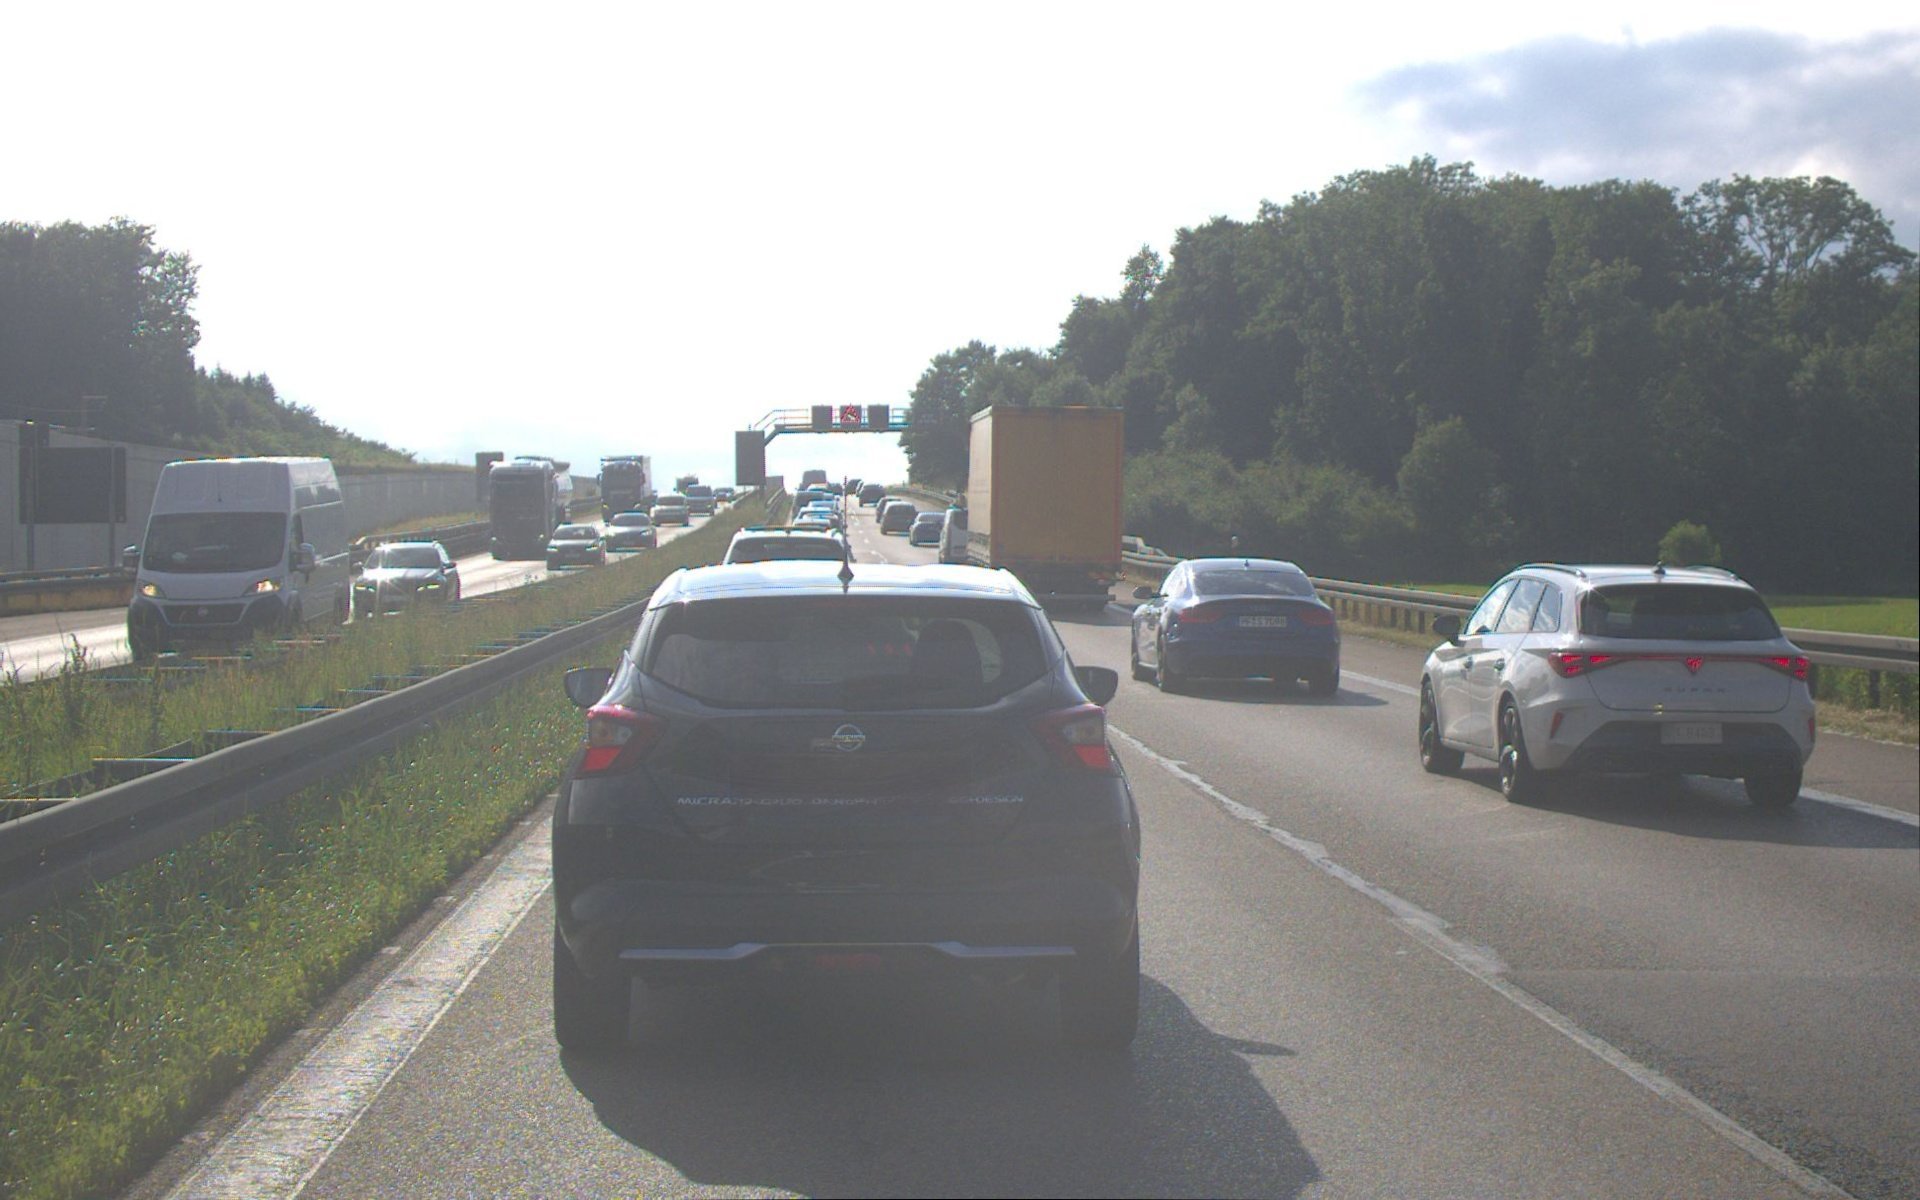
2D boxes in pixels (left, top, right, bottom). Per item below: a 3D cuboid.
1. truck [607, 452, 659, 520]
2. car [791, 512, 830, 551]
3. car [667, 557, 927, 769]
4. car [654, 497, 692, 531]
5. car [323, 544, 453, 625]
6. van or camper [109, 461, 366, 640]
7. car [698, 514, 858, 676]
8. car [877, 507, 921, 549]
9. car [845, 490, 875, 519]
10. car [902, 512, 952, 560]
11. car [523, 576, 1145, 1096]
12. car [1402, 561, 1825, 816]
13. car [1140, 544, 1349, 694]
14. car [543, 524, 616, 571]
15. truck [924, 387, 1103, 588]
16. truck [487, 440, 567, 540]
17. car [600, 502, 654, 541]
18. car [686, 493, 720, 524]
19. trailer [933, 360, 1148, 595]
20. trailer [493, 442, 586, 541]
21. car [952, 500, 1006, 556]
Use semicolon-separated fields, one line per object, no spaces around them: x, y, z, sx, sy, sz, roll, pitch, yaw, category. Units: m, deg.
-20.238;-7.023;212.929;2.754;4.076;6.954;0;1;-2;truck
-7.857;-3.576;180.471;1.993;2.007;4.000;1;0;-3;car
-1.096;0.397;24.167;1.674;1.362;3.596;1;0;-1;car
-16.081;-4.810;192.535;1.860;1.827;4.281;1;1;-2;car
-11.244;-0.317;67.795;1.843;1.503;4.551;1;1;-1;car
-9.515;-0.647;45.836;2.166;2.198;6.259;1;1;-1;van or camper
-2.020;-0.068;38.906;1.674;1.720;3.596;1;0;-1;car
-2.958;-3.474;166.495;1.993;2.007;4.000;1;0;-3;car
-7.045;-6.727;242.571;1.993;2.007;4.000;1;0;-3;car
-1.439;-2.753;148.525;1.993;2.007;4.000;1;0;-3;car
-0.369;0.646;11.242;1.710;1.421;3.378;1;0;-1;car
3.993;0.488;21.661;1.620;1.440;4.147;1;0;-4;car
2.936;0.172;36.232;1.747;1.470;4.147;1;0;-1;car
-12.593;-1.732;114.059;1.993;1.481;4.398;1;1;-1;car
1.148;-2.494;78.738;3.581;4.365;6.689;1;0;-3;truck
-17.010;-4.295;135.326;2.552;3.785;5.418;-1;1;-2;truck
-13.617;-3.197;140.729;1.803;1.511;4.691;1;1;-1;car
-16.829;-5.995;225.104;1.993;1.877;4.787;-2;1;-2;car
1.493;-2.410;72.130;3.548;4.442;12.723;1;1;-3;trailer
-17.204;-4.371;141.316;2.540;3.758;12.542;-1;1;-1;trailer
0.602;-2.293;110.272;1.667;1.748;3.327;1;0;-1;car
